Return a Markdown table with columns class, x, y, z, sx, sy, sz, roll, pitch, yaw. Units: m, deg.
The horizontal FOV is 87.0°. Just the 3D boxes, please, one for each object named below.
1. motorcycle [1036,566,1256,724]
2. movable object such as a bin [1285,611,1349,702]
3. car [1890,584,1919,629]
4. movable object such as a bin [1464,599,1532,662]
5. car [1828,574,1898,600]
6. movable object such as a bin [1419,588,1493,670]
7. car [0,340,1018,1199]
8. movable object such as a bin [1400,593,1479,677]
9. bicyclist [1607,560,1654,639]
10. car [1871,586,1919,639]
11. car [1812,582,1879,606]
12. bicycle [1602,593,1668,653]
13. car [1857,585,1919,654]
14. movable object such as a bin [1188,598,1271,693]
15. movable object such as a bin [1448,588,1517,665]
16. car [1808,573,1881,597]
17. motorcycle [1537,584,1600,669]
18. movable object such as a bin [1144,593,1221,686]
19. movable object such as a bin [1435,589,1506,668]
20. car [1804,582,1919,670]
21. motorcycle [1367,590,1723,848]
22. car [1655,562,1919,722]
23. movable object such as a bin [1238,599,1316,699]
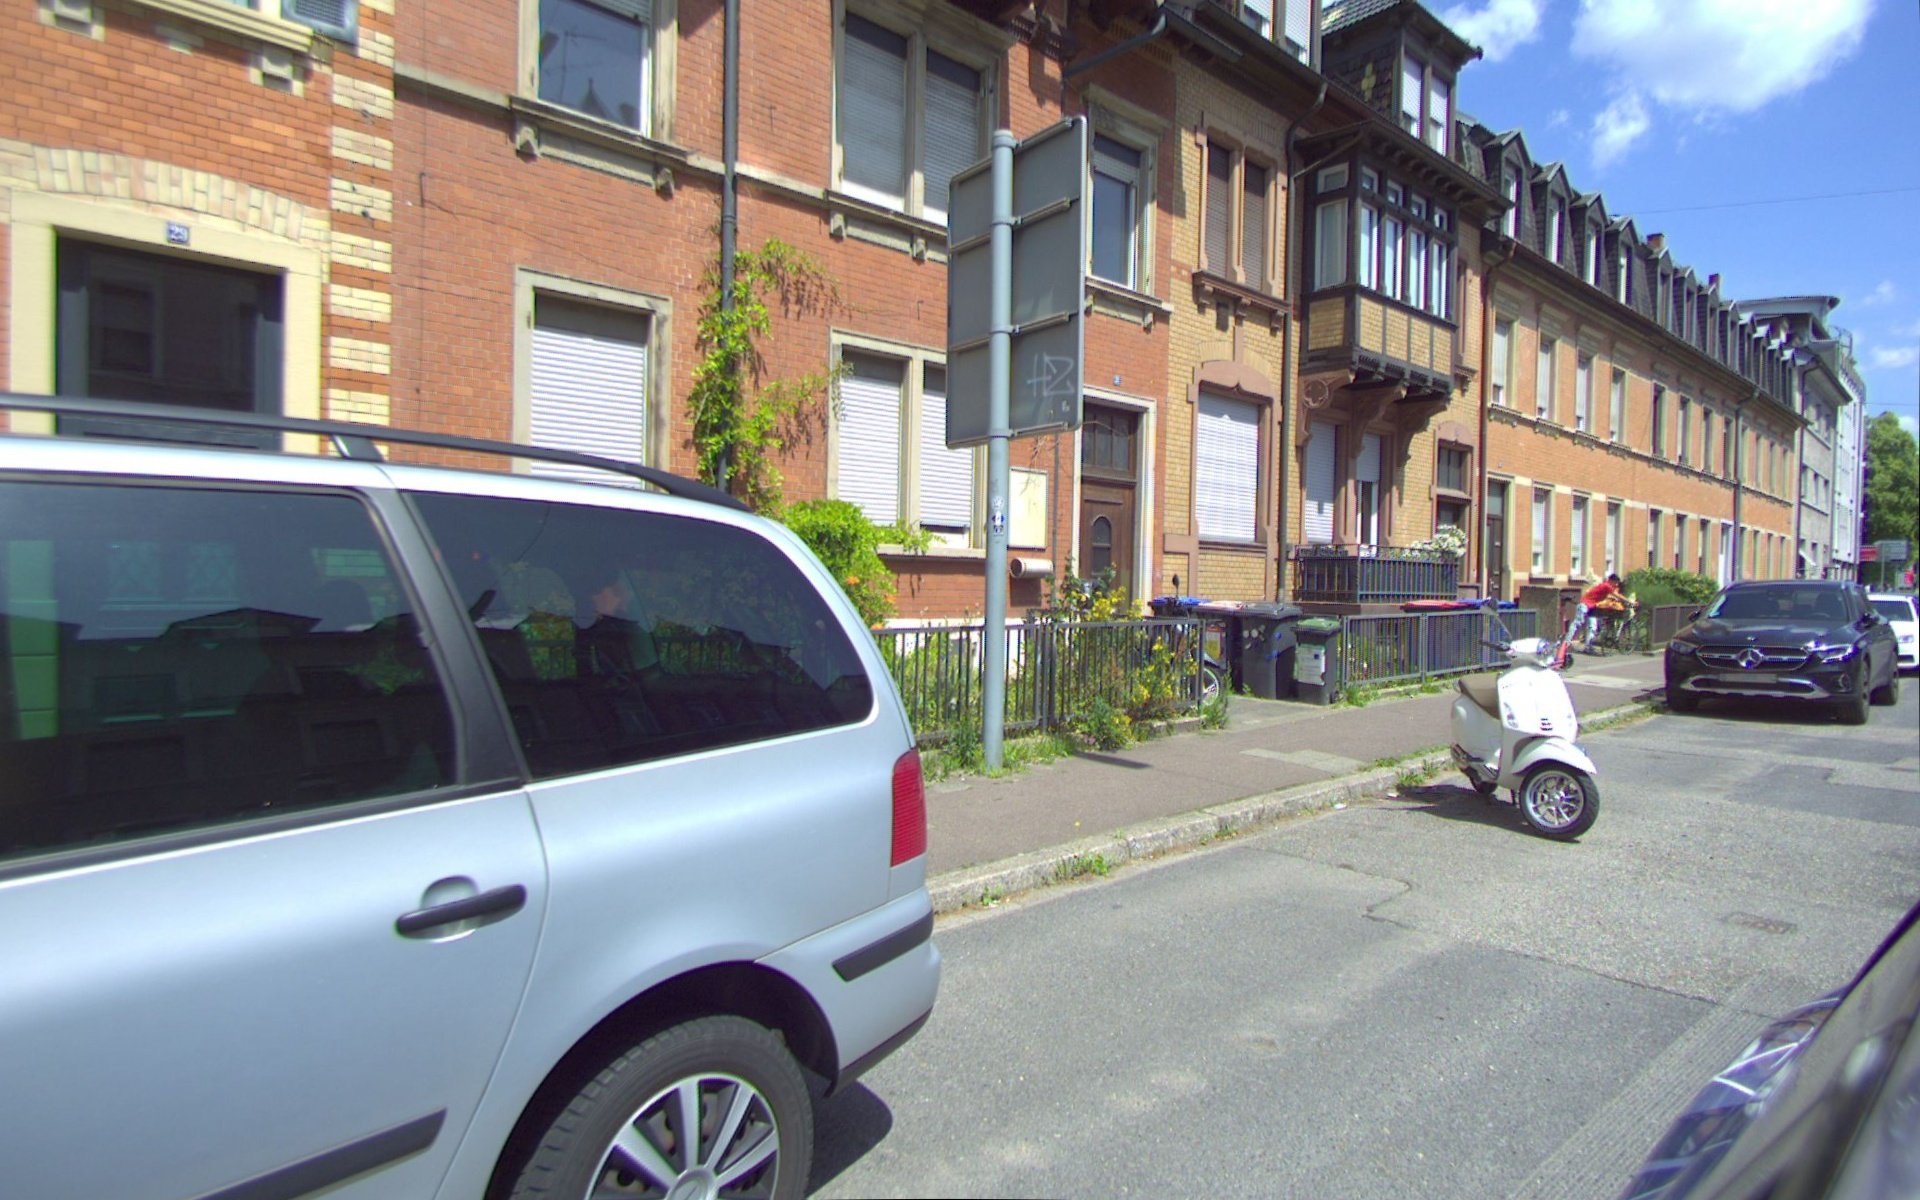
| class | x | y | z | sx | sy | sz | roll | pitch | yaw |
| --- | --- | --- | --- | --- | --- | --- | --- | --- | --- |
| motorcycle | 1.897 | 0.391 | 10.628 | 0.921 | 1.425 | 2.133 | -1 | 4 | -42 |
| movable object such as a bin | 3.981 | 0.613 | 11.291 | 0.517 | 0.953 | 0.482 | 0 | 1 | -41 |
| car | 34.594 | 0.205 | 36.101 | 1.851 | 1.481 | 4.486 | 1 | 2 | 40 |
| movable object such as a bin | 8.300 | 0.454 | 15.616 | 0.530 | 0.918 | 0.788 | -1 | 2 | -44 |
| car | 82.441 | -1.181 | 92.429 | 2.071 | 2.305 | 4.605 | -1 | 0 | -44 |
| movable object such as a bin | 7.046 | 0.393 | 14.381 | 0.545 | 1.102 | 0.788 | -1 | 2 | -44 |
| car | -2.117 | 0.579 | 1.582 | 4.543 | 1.770 | 1.861 | -1 | 0 | -45 |
| movable object such as a bin | 6.627 | 0.462 | 13.992 | 0.675 | 1.102 | 0.788 | -1 | 2 | -44 |
| bicyclist | 12.893 | -0.022 | 19.457 | 0.777 | 1.487 | 0.533 | -1 | 2 | -41 |
| car | 27.250 | 0.315 | 28.835 | 4.099 | 1.398 | 1.701 | -2 | 2 | -45 |
| car | 67.426 | -0.482 | 77.139 | 3.760 | 1.688 | 1.639 | 2 | 2 | 41 |
| bicycle | 13.078 | 0.423 | 19.585 | 1.850 | 1.079 | 0.594 | -1 | 2 | -42 |
| car | 22.021 | 0.398 | 23.606 | 1.647 | 1.432 | 4.434 | 1 | 2 | 42 |
| movable object such as a bin | 3.225 | 0.521 | 12.125 | 0.735 | 1.068 | 0.660 | -1 | 1 | -41 |
| movable object such as a bin | 7.844 | 0.381 | 15.199 | 0.530 | 1.102 | 0.788 | -1 | 2 | -44 |
| car | 65.692 | -1.123 | 75.209 | 3.988 | 1.772 | 1.984 | 1 | 2 | 45 |
| motorcycle | 9.396 | 0.382 | 15.610 | 1.335 | 1.252 | 0.440 | 0 | 3 | -43 |
| movable object such as a bin | 2.786 | 0.472 | 12.644 | 0.748 | 1.090 | 0.610 | -1 | 1 | -41 |
| movable object such as a bin | 7.453 | 0.398 | 14.788 | 0.535 | 1.102 | 0.788 | -1 | 2 | -44 |
| car | 17.422 | 0.404 | 19.054 | 4.511 | 1.432 | 1.719 | -1 | 2 | -42 |
| motorcycle | 3.672 | 0.652 | 6.644 | 1.091 | 1.403 | 1.998 | 0 | 1 | -4 |
| car | 10.742 | 0.381 | 12.984 | 4.546 | 1.682 | 1.997 | -1 | 3 | -42 |
| movable object such as a bin | 3.646 | 0.543 | 11.640 | 0.714 | 1.089 | 0.558 | -1 | 1 | -41 |
